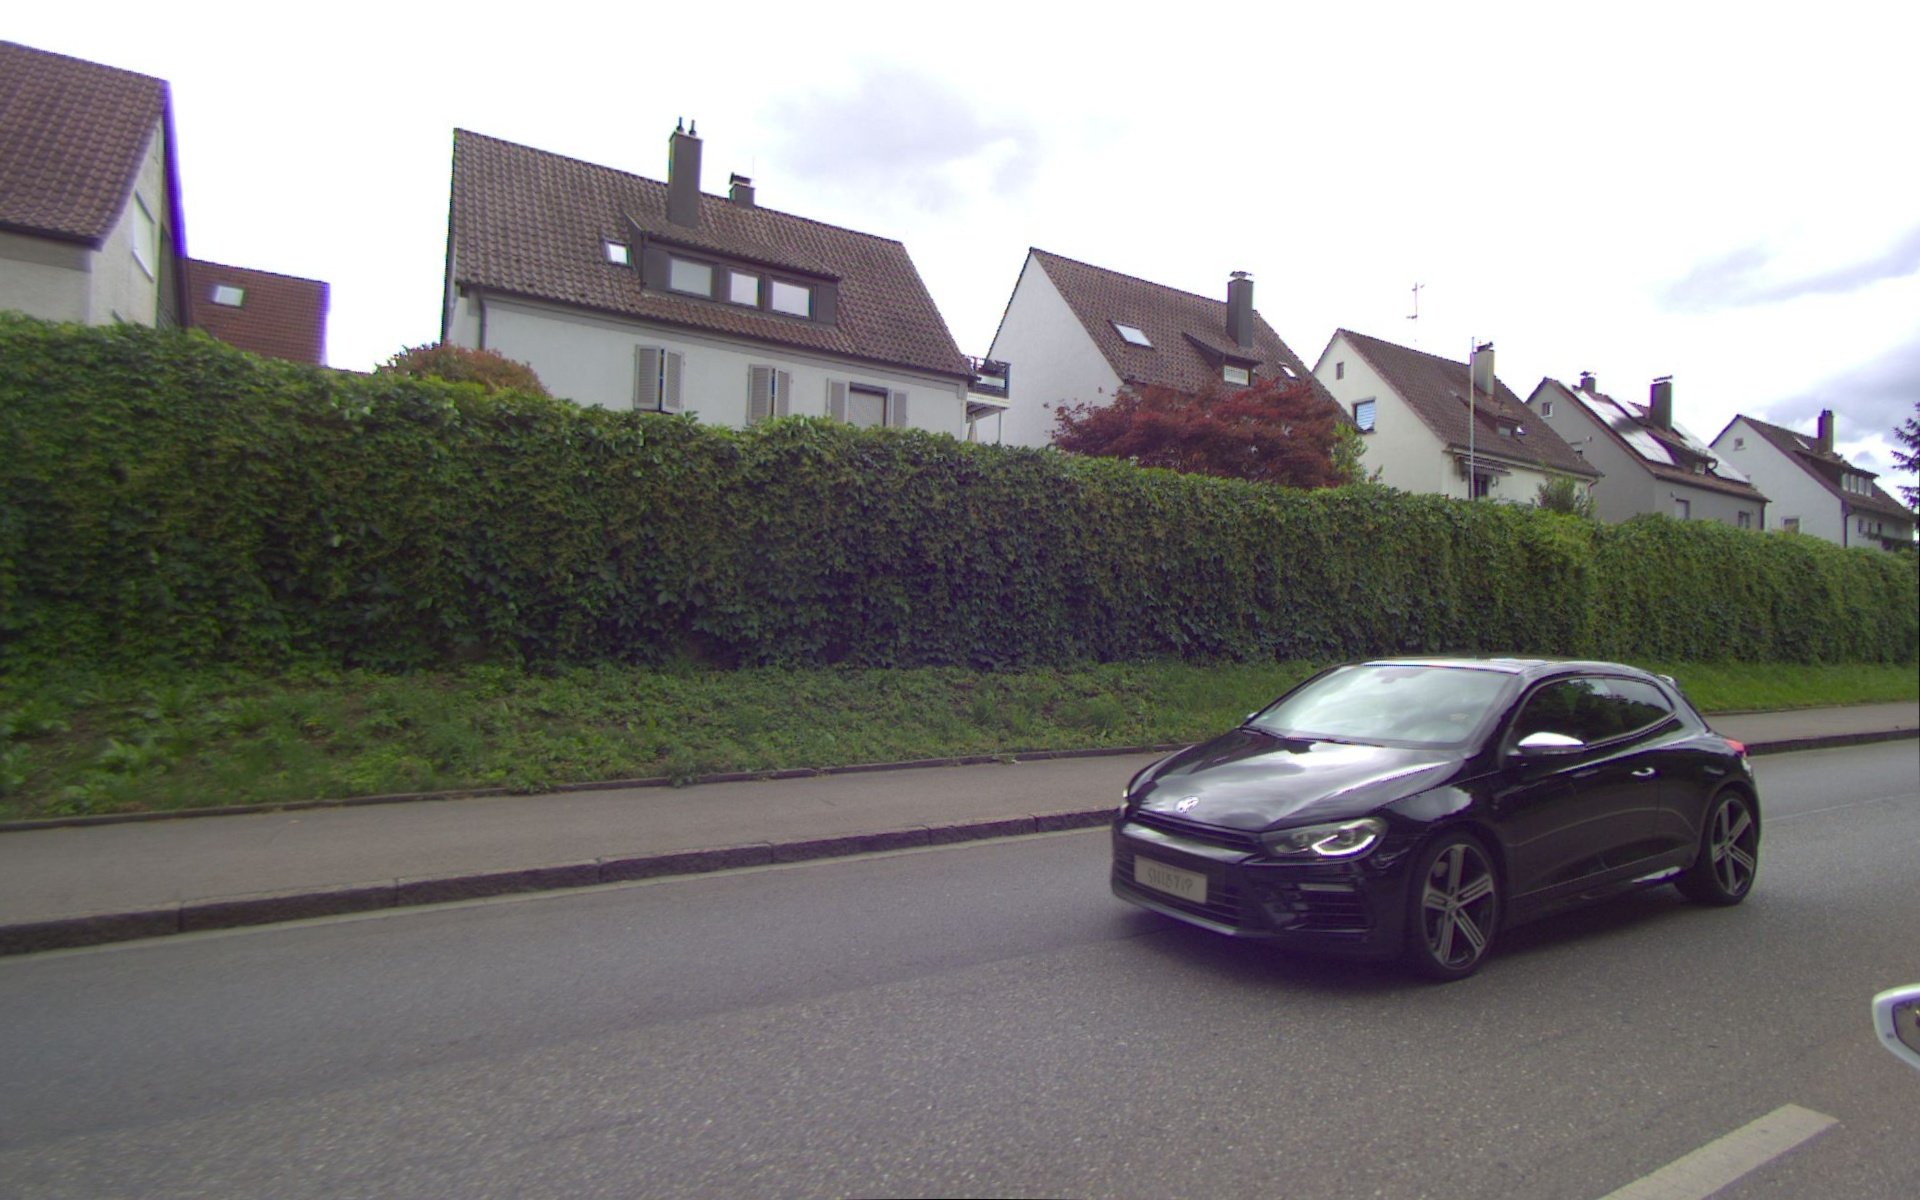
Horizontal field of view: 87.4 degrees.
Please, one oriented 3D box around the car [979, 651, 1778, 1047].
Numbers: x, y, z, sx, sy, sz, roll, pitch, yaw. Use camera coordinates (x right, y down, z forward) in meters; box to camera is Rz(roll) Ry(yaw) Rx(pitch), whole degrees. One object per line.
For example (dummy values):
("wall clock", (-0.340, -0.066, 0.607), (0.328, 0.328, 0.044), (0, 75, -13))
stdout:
("car", (2.404, 0.974, 5.404), (4.425, 1.365, 1.643), (1, -3, -30))
